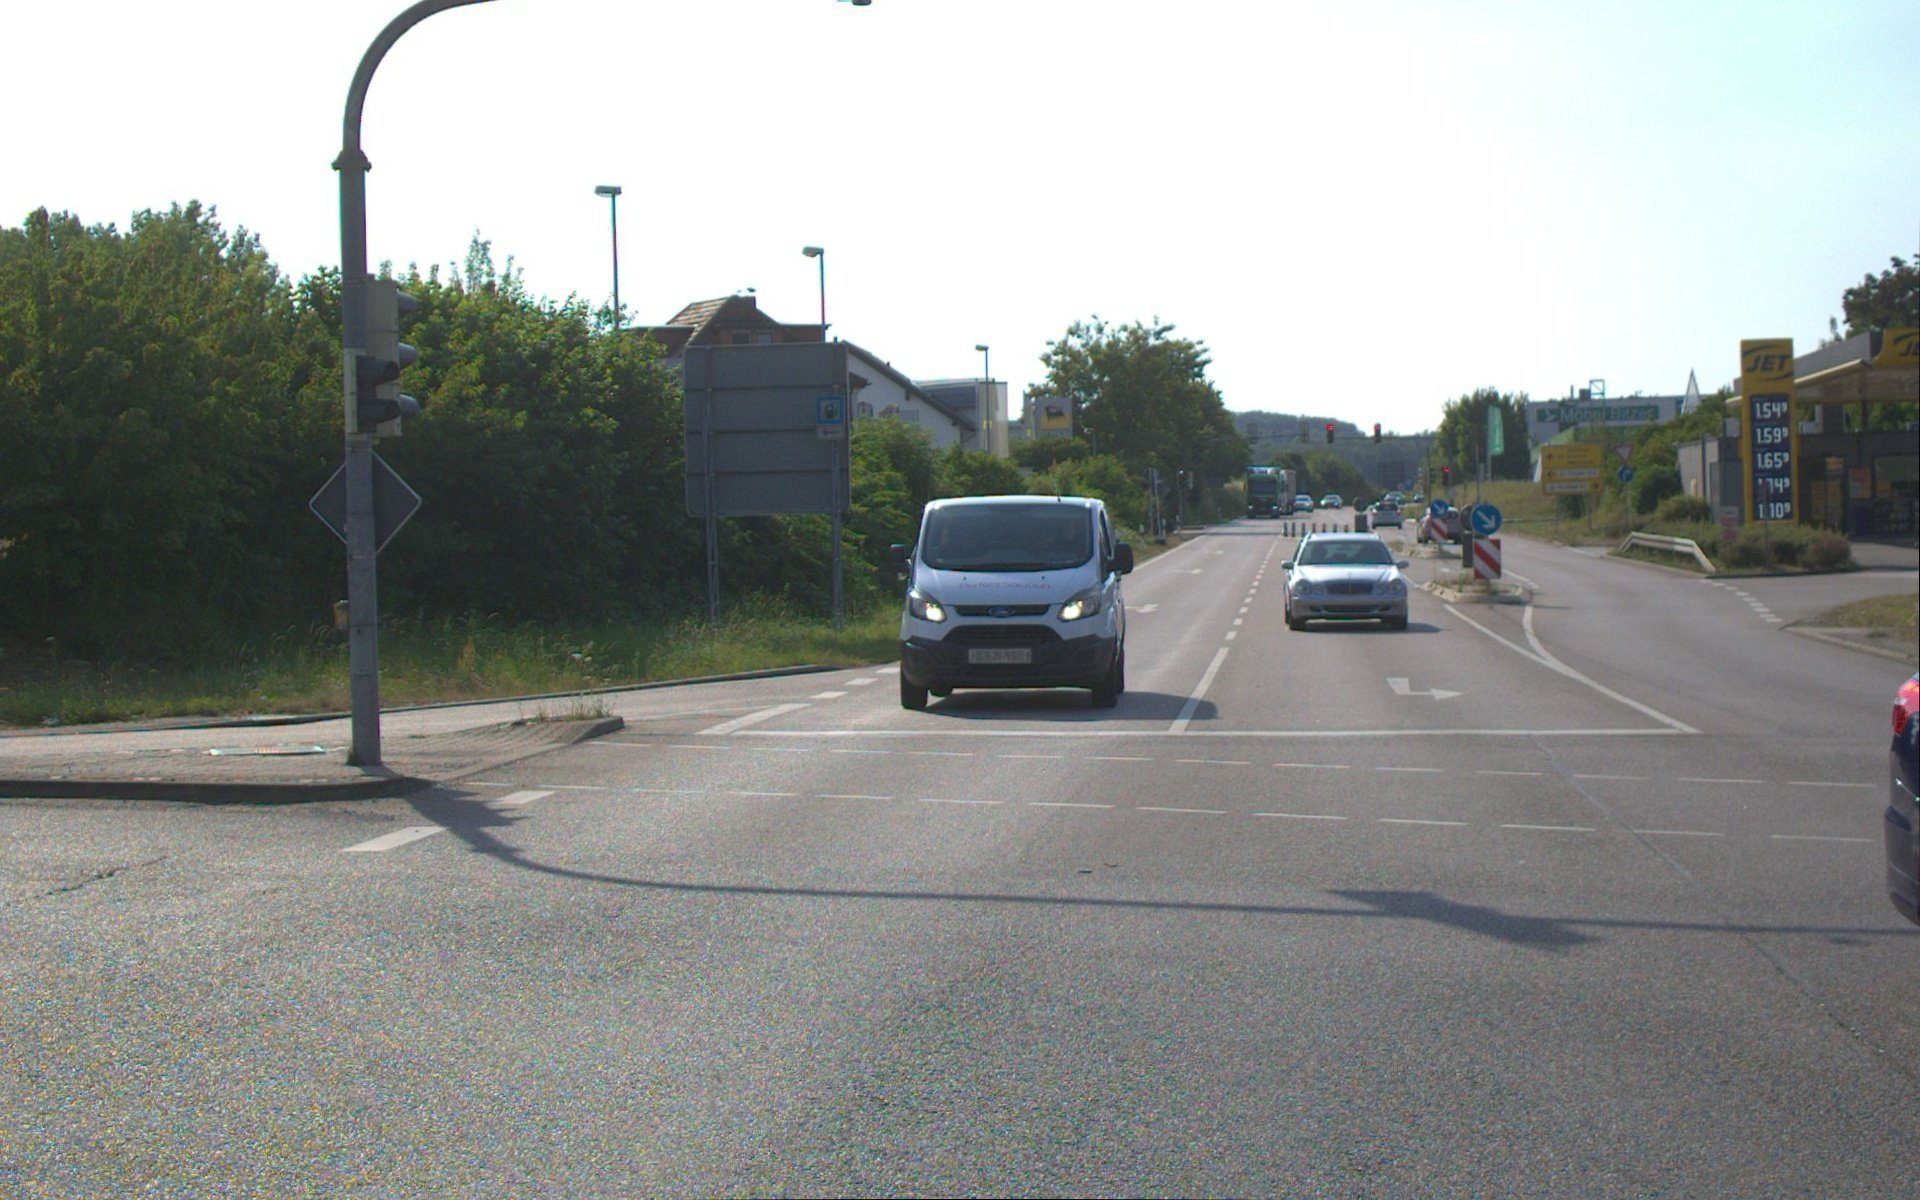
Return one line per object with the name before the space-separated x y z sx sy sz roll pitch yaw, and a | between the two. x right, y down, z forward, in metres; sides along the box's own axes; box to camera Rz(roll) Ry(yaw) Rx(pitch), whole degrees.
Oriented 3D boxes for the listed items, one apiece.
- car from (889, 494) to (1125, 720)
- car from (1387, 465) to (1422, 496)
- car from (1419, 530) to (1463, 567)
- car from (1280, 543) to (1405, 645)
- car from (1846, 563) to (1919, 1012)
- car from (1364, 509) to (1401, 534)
car | 0.529 -0.017 32.865 1.900 1.941 4.818 1 2 5
car | 30.970 -8.346 239.839 1.993 2.007 4.000 1 0 2
car | 19.200 -2.049 137.389 1.550 1.444 3.049 1 0 4
car | 6.015 -0.105 54.491 1.857 1.508 4.952 1 0 5
car | 4.486 0.649 10.046 1.787 1.492 4.303 1 0 -15
car | 23.529 -4.363 191.586 1.741 1.347 3.203 1 0 2
